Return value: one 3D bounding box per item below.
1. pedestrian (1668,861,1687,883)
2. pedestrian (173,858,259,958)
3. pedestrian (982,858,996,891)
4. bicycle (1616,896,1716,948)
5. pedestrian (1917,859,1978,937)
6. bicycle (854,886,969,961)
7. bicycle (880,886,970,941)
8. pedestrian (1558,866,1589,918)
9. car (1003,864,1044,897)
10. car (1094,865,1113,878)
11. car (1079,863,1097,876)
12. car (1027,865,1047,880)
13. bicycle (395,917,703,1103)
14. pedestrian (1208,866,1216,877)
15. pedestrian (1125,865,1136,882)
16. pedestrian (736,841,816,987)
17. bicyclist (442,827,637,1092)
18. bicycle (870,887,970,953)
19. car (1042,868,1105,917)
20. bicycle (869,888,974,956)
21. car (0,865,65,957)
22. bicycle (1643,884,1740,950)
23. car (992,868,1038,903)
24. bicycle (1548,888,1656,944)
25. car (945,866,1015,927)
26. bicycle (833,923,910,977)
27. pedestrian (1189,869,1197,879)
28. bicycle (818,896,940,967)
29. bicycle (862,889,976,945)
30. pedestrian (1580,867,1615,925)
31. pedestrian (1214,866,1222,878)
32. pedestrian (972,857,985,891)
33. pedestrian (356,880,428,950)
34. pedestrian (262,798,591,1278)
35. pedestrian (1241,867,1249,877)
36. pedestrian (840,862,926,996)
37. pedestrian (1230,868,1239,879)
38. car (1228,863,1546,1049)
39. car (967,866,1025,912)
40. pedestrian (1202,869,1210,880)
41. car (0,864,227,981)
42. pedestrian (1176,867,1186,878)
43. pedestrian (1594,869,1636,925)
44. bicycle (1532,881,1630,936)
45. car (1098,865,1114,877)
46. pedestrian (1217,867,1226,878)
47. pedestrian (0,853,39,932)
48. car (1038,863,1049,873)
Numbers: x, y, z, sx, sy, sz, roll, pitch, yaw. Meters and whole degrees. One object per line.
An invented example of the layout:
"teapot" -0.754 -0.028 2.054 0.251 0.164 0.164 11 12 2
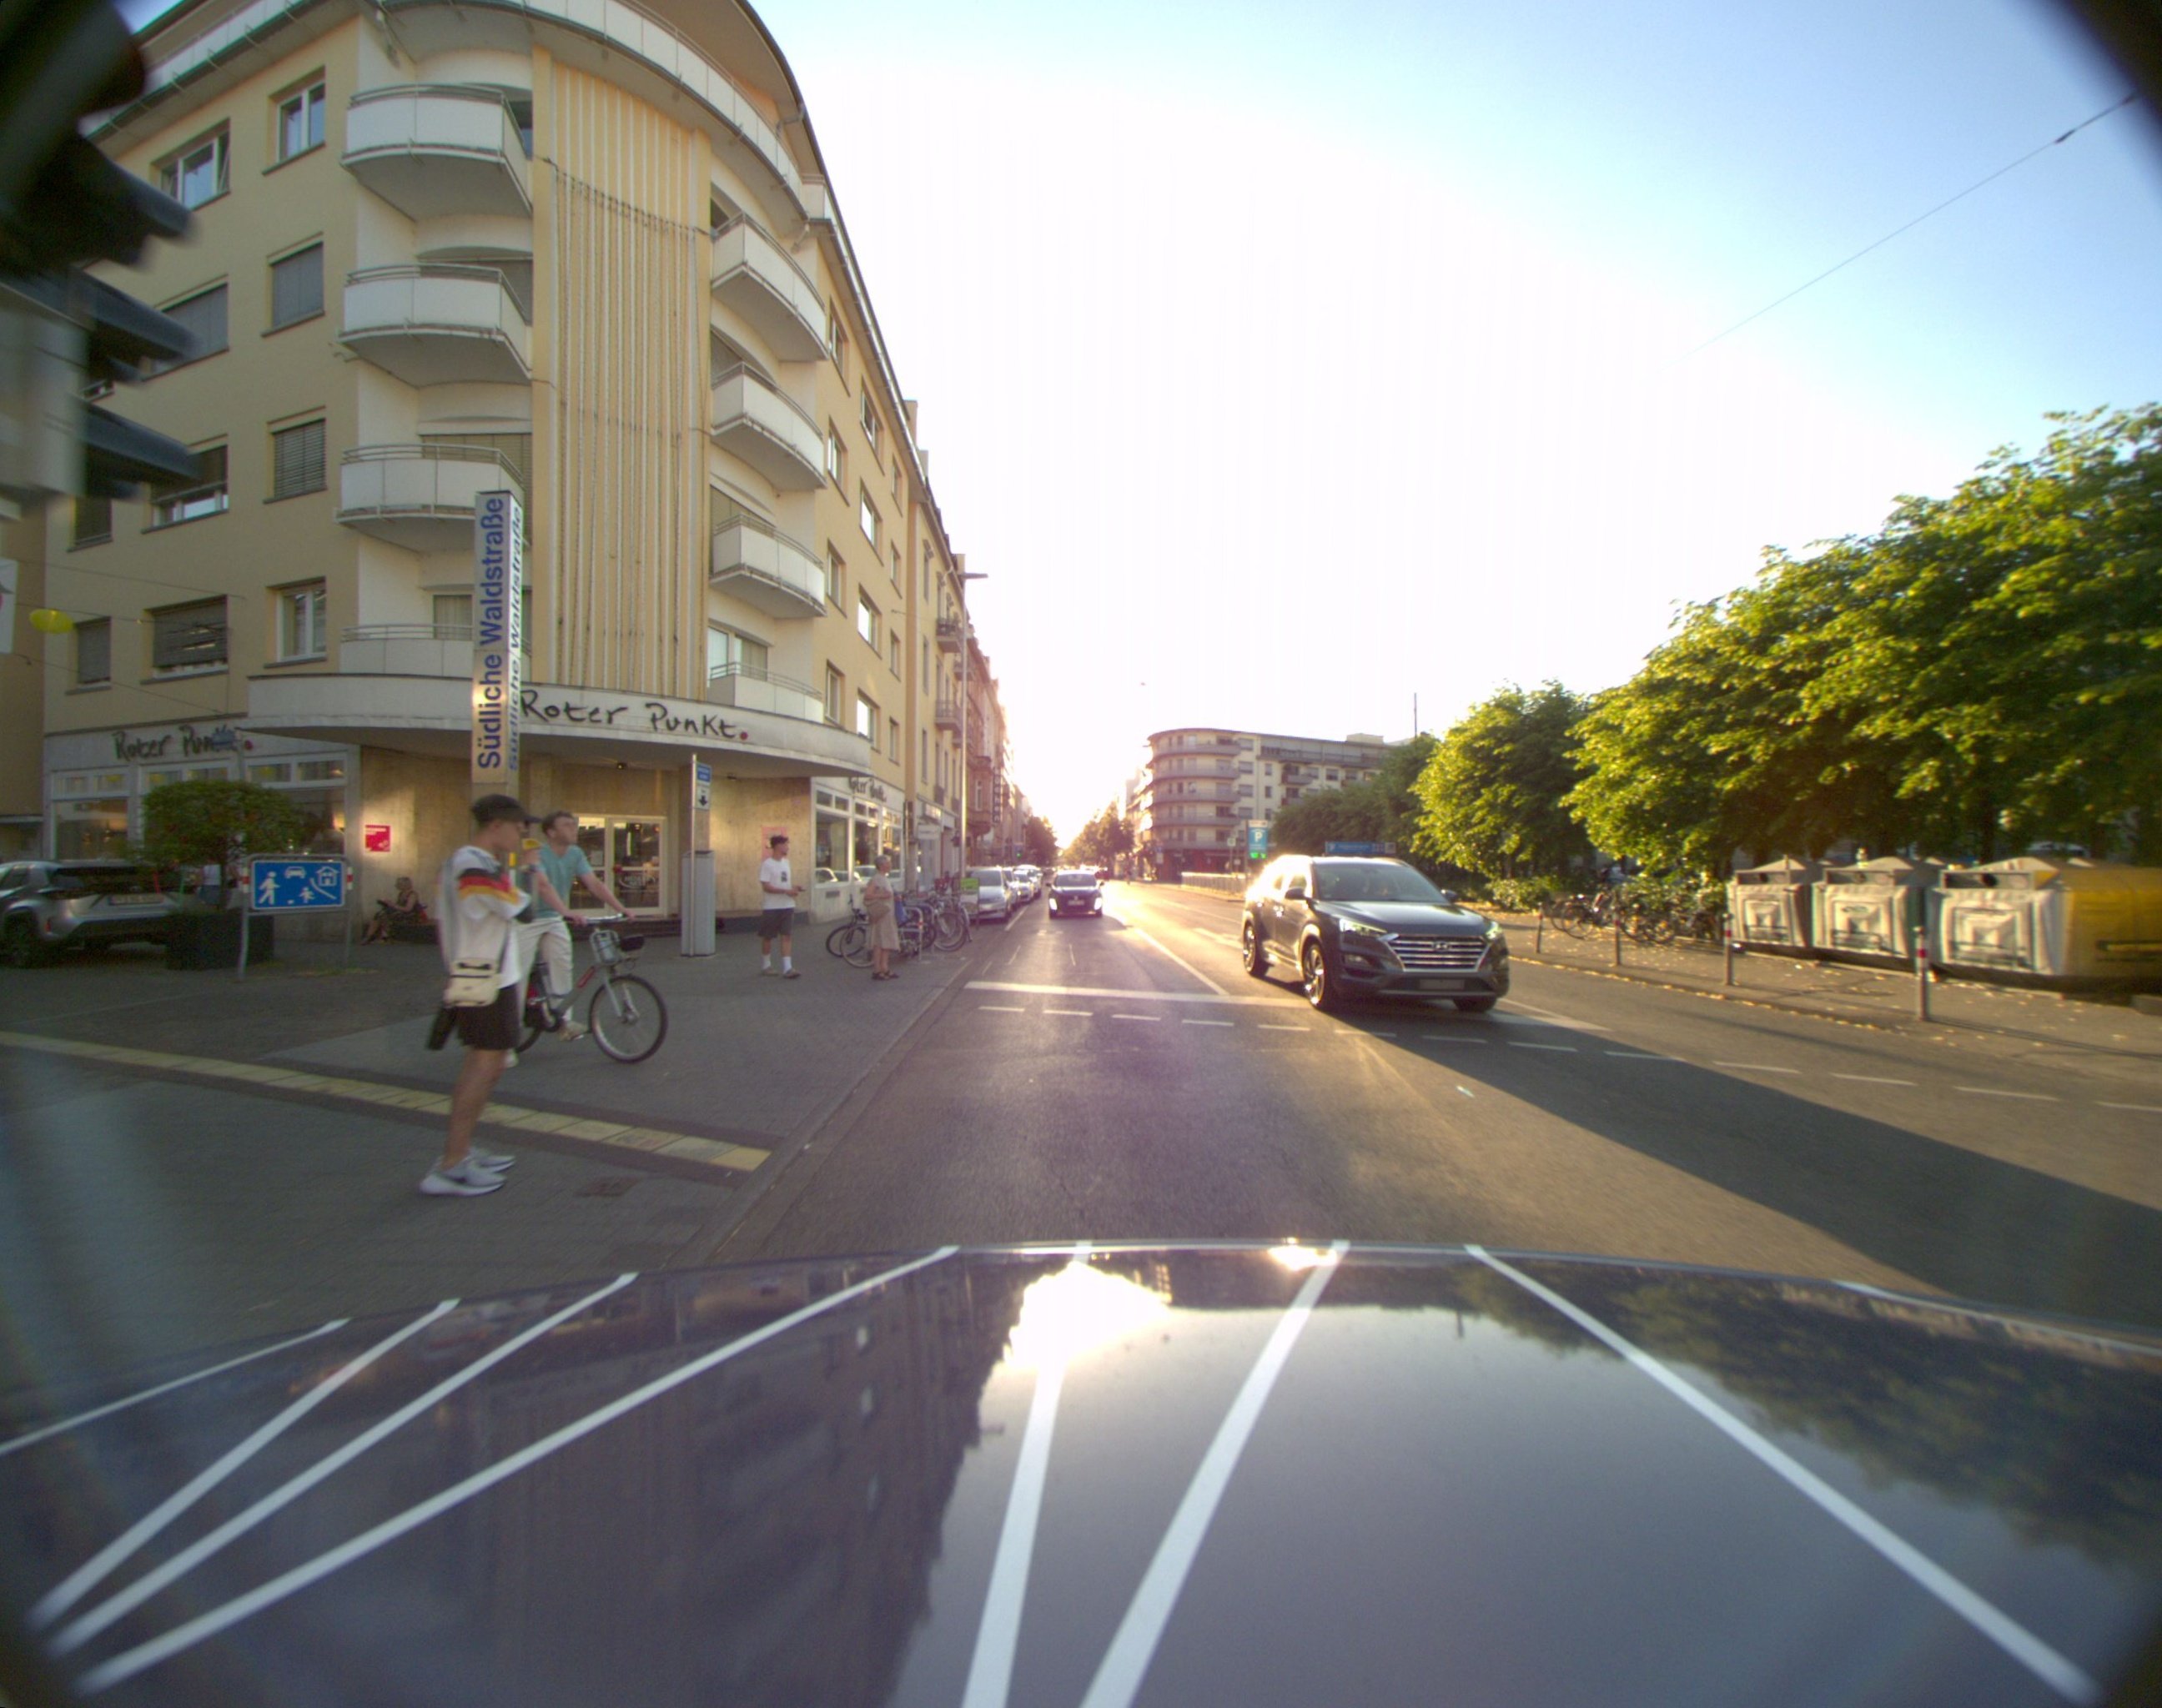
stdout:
"pedestrian" 37.952 1.155 48.355 0.662 1.367 0.654 3 -2 -16
"pedestrian" -14.842 0.898 13.045 0.731 1.659 0.757 0 0 21
"pedestrian" -5.537 1.217 45.610 0.763 2.001 0.851 0 0 -1
"bicycle" 11.998 1.380 15.599 1.678 0.973 0.548 -1 0 -5
"pedestrian" 19.884 0.980 17.455 0.734 1.715 0.899 -1 1 36
"bicycle" -2.863 1.176 13.006 1.849 1.232 0.639 1 0 -7
"bicycle" -3.347 1.275 16.326 1.851 1.116 0.594 1 1 -13
"pedestrian" 19.127 1.461 29.517 0.904 2.002 0.740 0 0 26
"car" -2.963 1.358 40.125 1.877 1.663 4.430 0 -1 -1
"car" 2.541 2.003 87.128 1.790 1.457 3.956 1 0 -3
"car" 0.897 2.077 99.757 1.878 1.621 4.177 3 -1 -7
"car" -4.273 1.782 74.023 1.909 1.421 4.449 0 -1 -3
"bicycle" -3.927 1.104 5.690 1.823 1.179 0.794 0 0 8
"pedestrian" 15.385 2.046 89.090 0.733 1.314 0.888 0 0 -4
"pedestrian" 4.644 1.831 71.270 0.678 1.508 0.676 0 -1 -44
"pedestrian" -4.005 0.746 9.963 0.827 1.806 0.869 0 0 -32
"bicyclist" -3.993 0.729 5.668 0.835 1.815 0.831 0 0 6
"bicycle" -3.032 1.245 14.381 1.789 1.166 0.621 2 -1 -13
"car" -0.161 1.227 25.476 1.908 1.438 4.451 0 0 2
"bicycle" -2.881 1.227 13.753 1.789 1.166 0.621 2 -1 -13
"car" -20.917 0.991 13.639 4.432 1.575 1.949 0 0 19
"bicycle" 12.103 1.242 15.077 1.590 1.245 0.445 -1 0 -3
"car" -2.945 1.396 34.547 1.738 1.448 4.610 0 -1 -1
"bicycle" 11.317 1.334 16.522 2.031 1.128 0.548 -1 0 -5
"car" -2.906 1.172 22.673 1.702 1.607 4.682 0 -1 -3
"bicycle" -3.108 1.419 11.377 1.008 0.677 1.049 1 -1 -11
"pedestrian" 12.998 2.282 88.096 0.887 1.185 0.733 0 0 8
"bicycle" -3.171 1.220 12.061 1.789 1.057 0.718 2 -1 -13
"bicycle" -3.231 1.263 15.329 2.176 1.069 0.805 1 -1 -8
"pedestrian" 18.354 1.470 27.009 0.904 2.001 0.858 0 0 26
"pedestrian" 16.292 2.128 90.340 0.689 1.314 0.819 0 0 -25
"pedestrian" -6.127 1.212 45.594 0.673 2.002 0.851 0 0 -1
"pedestrian" -12.247 1.068 13.521 0.636 1.178 0.706 0 0 16
"pedestrian" -2.934 0.730 3.547 0.942 1.886 0.824 0 0 -23
"pedestrian" 20.205 2.224 93.685 0.731 1.314 0.891 0 0 38
"pedestrian" -2.588 0.931 9.934 0.789 1.643 0.782 0 0 42
"pedestrian" 18.331 2.336 90.487 0.733 1.314 0.887 0 0 -16
"car" 3.250 0.971 9.194 1.878 1.679 4.449 1 -1 -3
"car" -3.152 1.264 28.946 1.821 1.611 4.203 0 -1 -1
"pedestrian" 14.694 2.365 89.089 0.732 1.314 0.889 0 0 -2
"car" -15.830 0.952 11.888 3.980 1.583 1.838 0 0 18
"pedestrian" 11.599 2.152 87.850 0.890 1.314 0.731 0 0 -28
"pedestrian" 19.279 1.533 27.466 0.907 2.001 0.855 0 0 -15
"bicycle" 11.970 1.296 18.210 2.031 1.245 0.548 -1 0 -5
"car" 3.731 2.494 114.018 1.999 1.805 3.999 0 -1 -3
"pedestrian" 16.523 2.142 89.399 0.733 1.314 0.888 0 0 -15
"pedestrian" -23.040 0.806 16.194 0.800 1.659 0.757 0 0 18
"car" -6.900 2.548 139.562 1.999 1.805 3.997 1 1 -5
